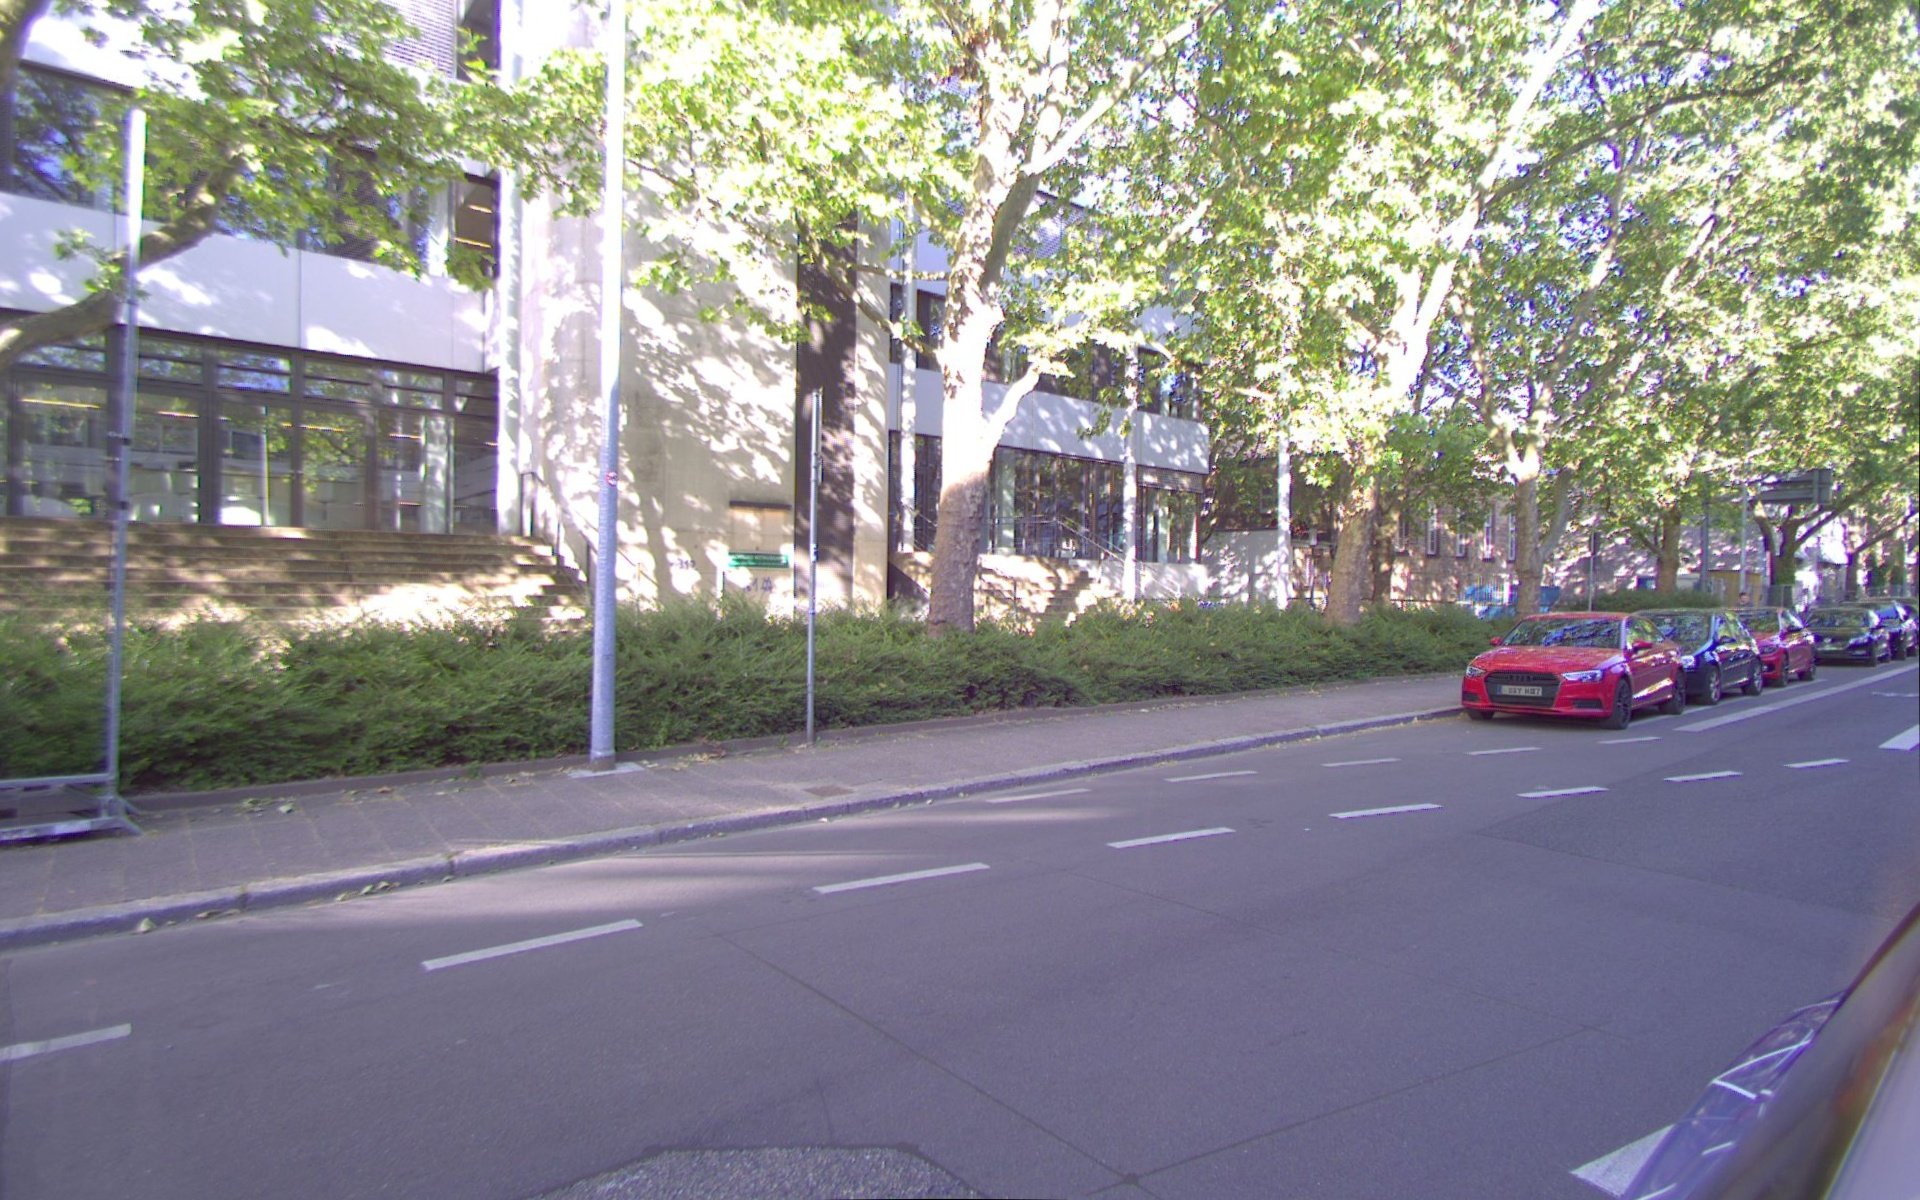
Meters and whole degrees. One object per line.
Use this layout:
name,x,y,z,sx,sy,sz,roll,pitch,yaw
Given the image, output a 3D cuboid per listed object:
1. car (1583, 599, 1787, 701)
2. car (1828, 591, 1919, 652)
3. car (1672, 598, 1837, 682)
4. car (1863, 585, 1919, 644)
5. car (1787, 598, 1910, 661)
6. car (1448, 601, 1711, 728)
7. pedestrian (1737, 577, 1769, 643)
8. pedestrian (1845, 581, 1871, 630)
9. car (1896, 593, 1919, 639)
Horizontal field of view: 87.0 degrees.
car,12.009,0.720,16.676,4.095,1.464,1.834,0,0,-41
car,26.545,0.574,29.077,4.088,1.626,1.834,0,0,-40
car,15.824,0.710,20.090,4.095,1.486,1.834,0,0,-41
car,31.030,0.441,32.966,4.383,1.820,1.834,0,0,-40
car,22.856,0.704,25.982,4.095,1.486,1.834,0,0,-41
car,8.390,0.738,13.559,4.173,1.422,1.834,0,0,-41
pedestrian,22.228,0.276,28.365,0.583,1.818,0.600,0,0,-41
pedestrian,35.251,0.209,39.720,0.629,1.884,0.660,0,0,-41
car,35.894,0.583,37.092,4.183,1.634,1.834,0,0,-40
